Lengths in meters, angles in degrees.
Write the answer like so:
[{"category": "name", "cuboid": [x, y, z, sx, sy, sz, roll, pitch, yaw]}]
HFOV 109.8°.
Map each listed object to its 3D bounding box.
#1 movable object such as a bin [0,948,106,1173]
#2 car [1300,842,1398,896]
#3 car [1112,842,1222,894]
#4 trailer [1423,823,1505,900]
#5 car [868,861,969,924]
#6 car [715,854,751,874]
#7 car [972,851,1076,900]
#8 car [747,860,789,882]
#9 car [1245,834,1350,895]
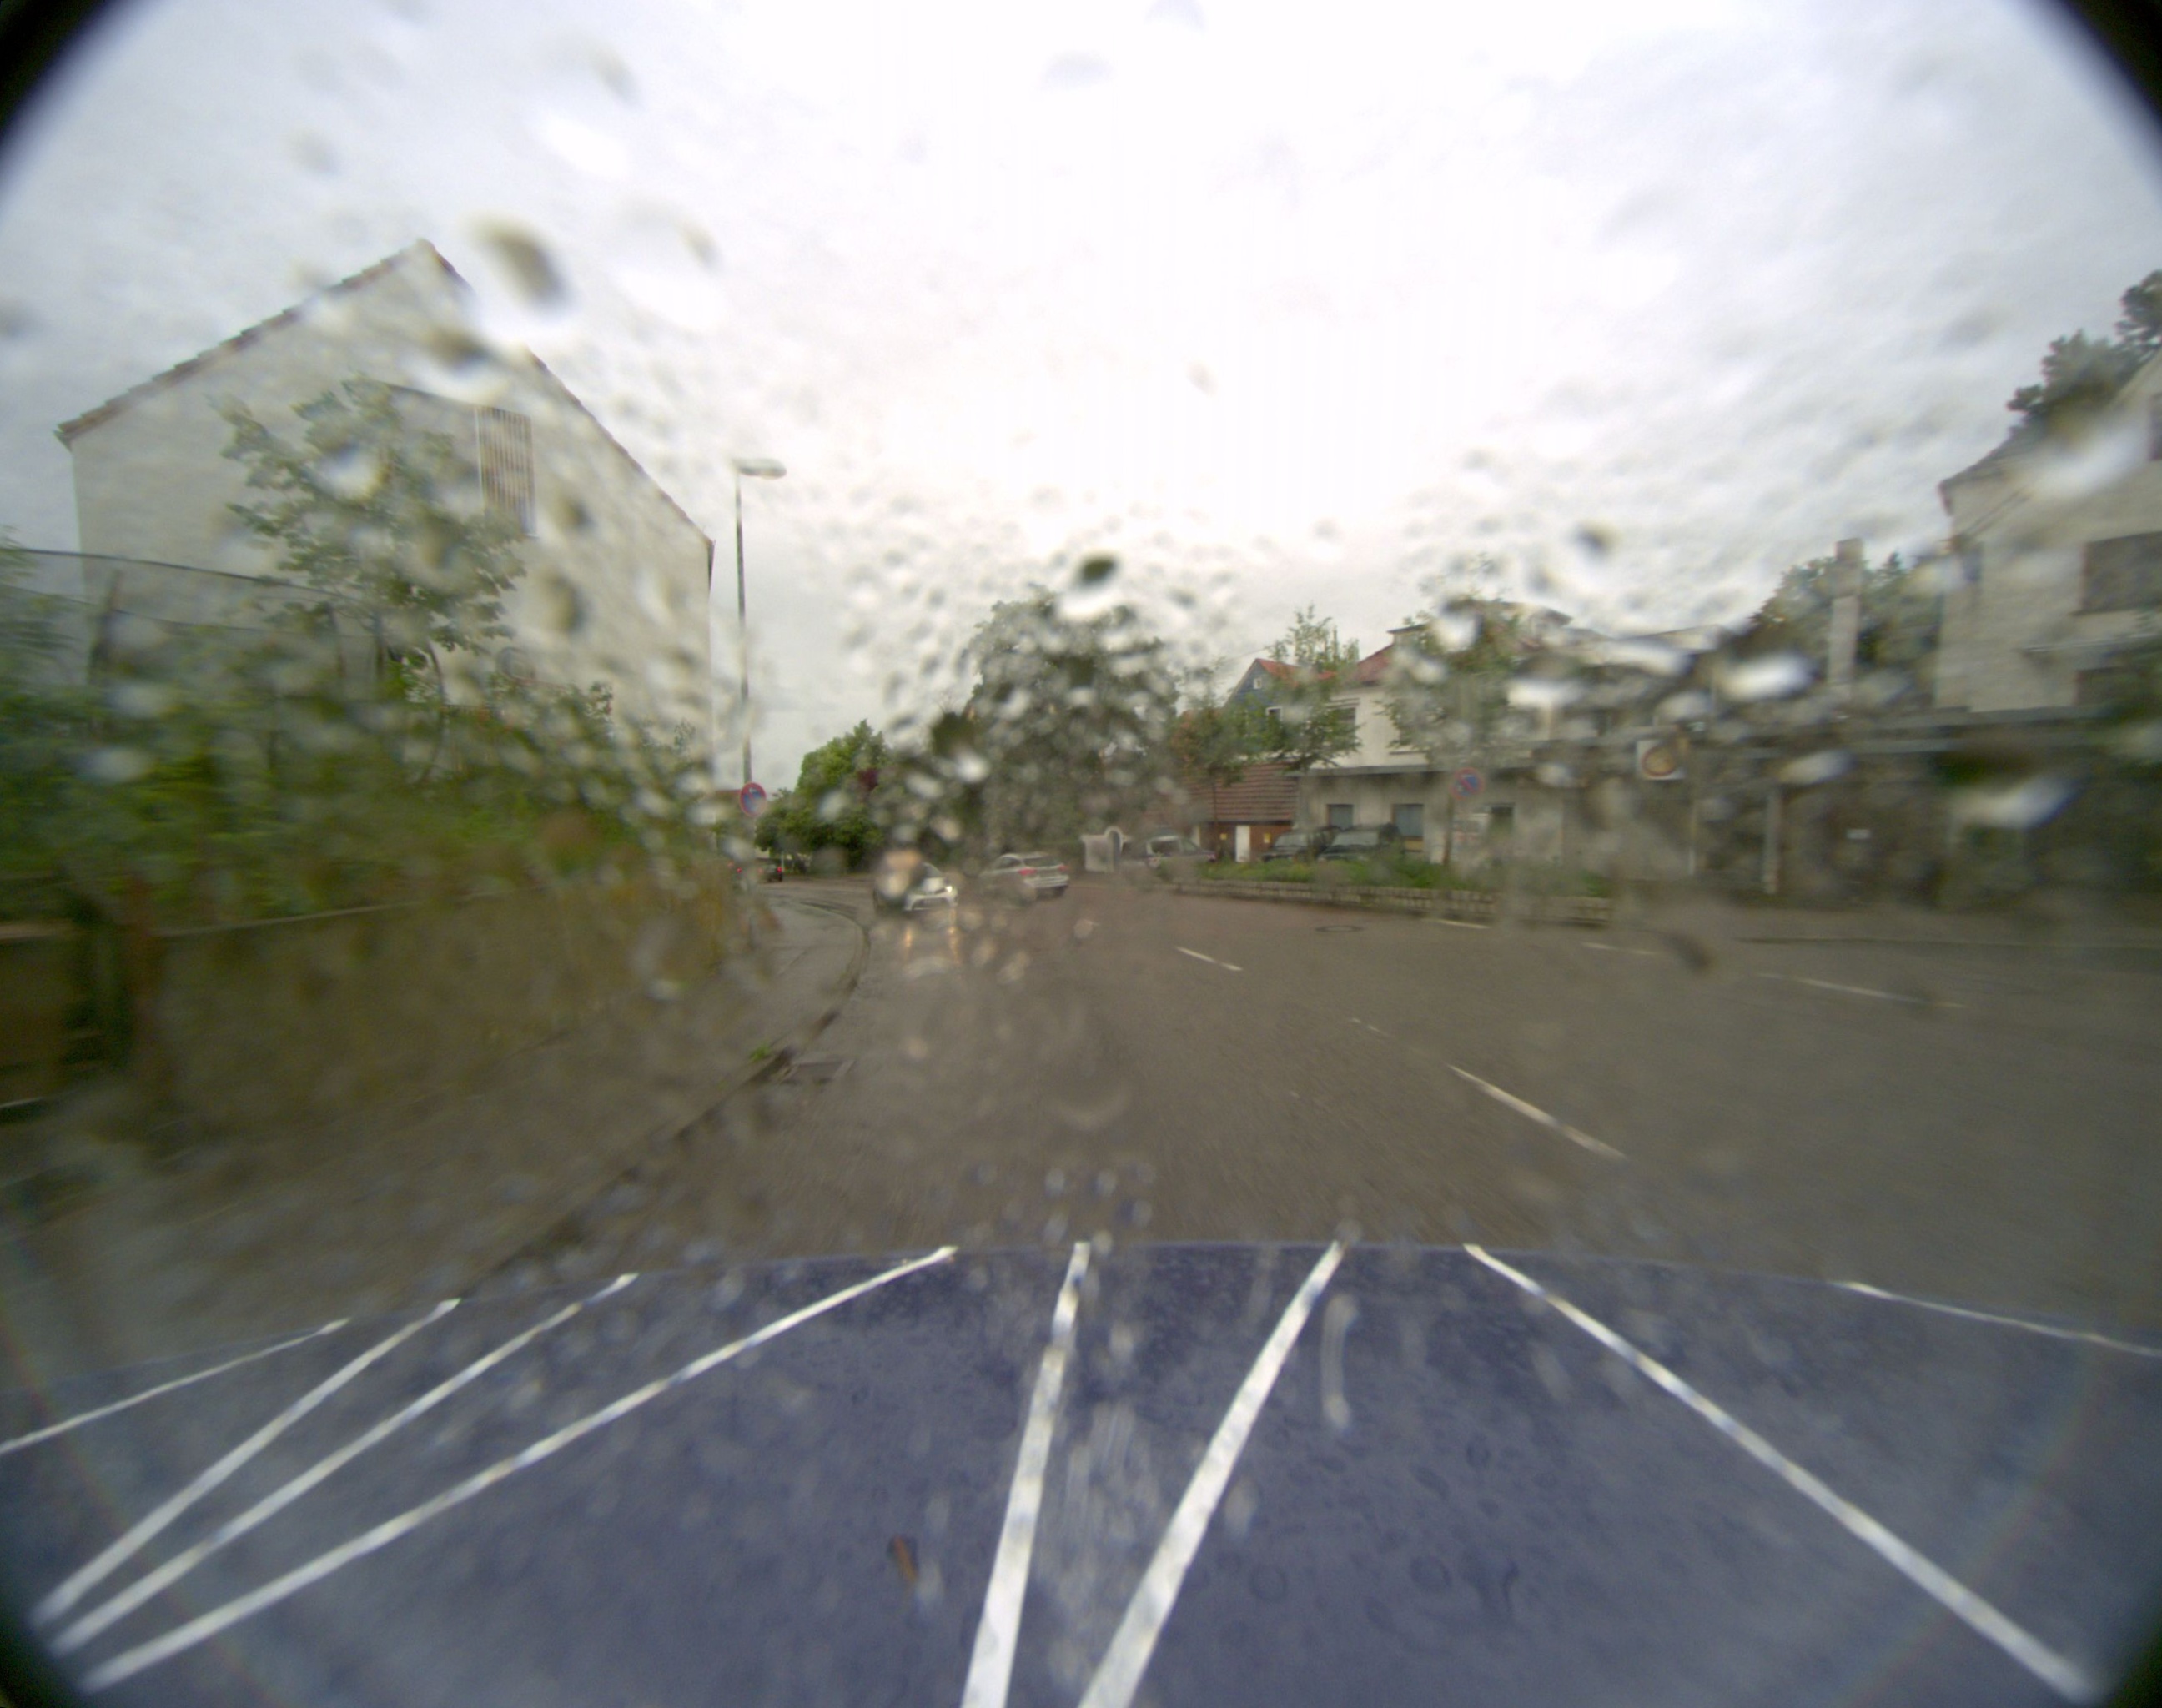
[{"category": "movable object such as a bin", "cuboid": [-4.917, 0.934, 3.461, 0.465, 0.930, 0.482, -2, 2, 32]}, {"category": "car", "cuboid": [8.679, 0.444, 24.469, 1.834, 1.477, 3.351, -2, 2, 41]}, {"category": "car", "cuboid": [3.566, 0.541, 31.278, 4.126, 1.790, 1.995, -4, 2, -36]}, {"category": "trailer", "cuboid": [11.463, 0.172, 22.601, 1.948, 2.090, 3.968, -1, 1, 30]}, {"category": "car", "cuboid": [-4.838, 1.030, 22.168, 1.862, 1.427, 4.008, -5, 3, -26]}, {"category": "car", "cuboid": [-28.105, 0.814, 61.324, 1.828, 1.414, 3.890, -4, 1, -36]}, {"category": "car", "cuboid": [-1.984, 0.700, 25.256, 1.602, 1.405, 4.227, -4, 1, -31]}, {"category": "car", "cuboid": [-21.791, 1.177, 52.782, 1.685, 1.397, 3.668, -4, 2, -38]}, {"category": "car", "cuboid": [7.650, 0.327, 26.620, 1.794, 1.764, 4.097, -2, 3, 43]}]
